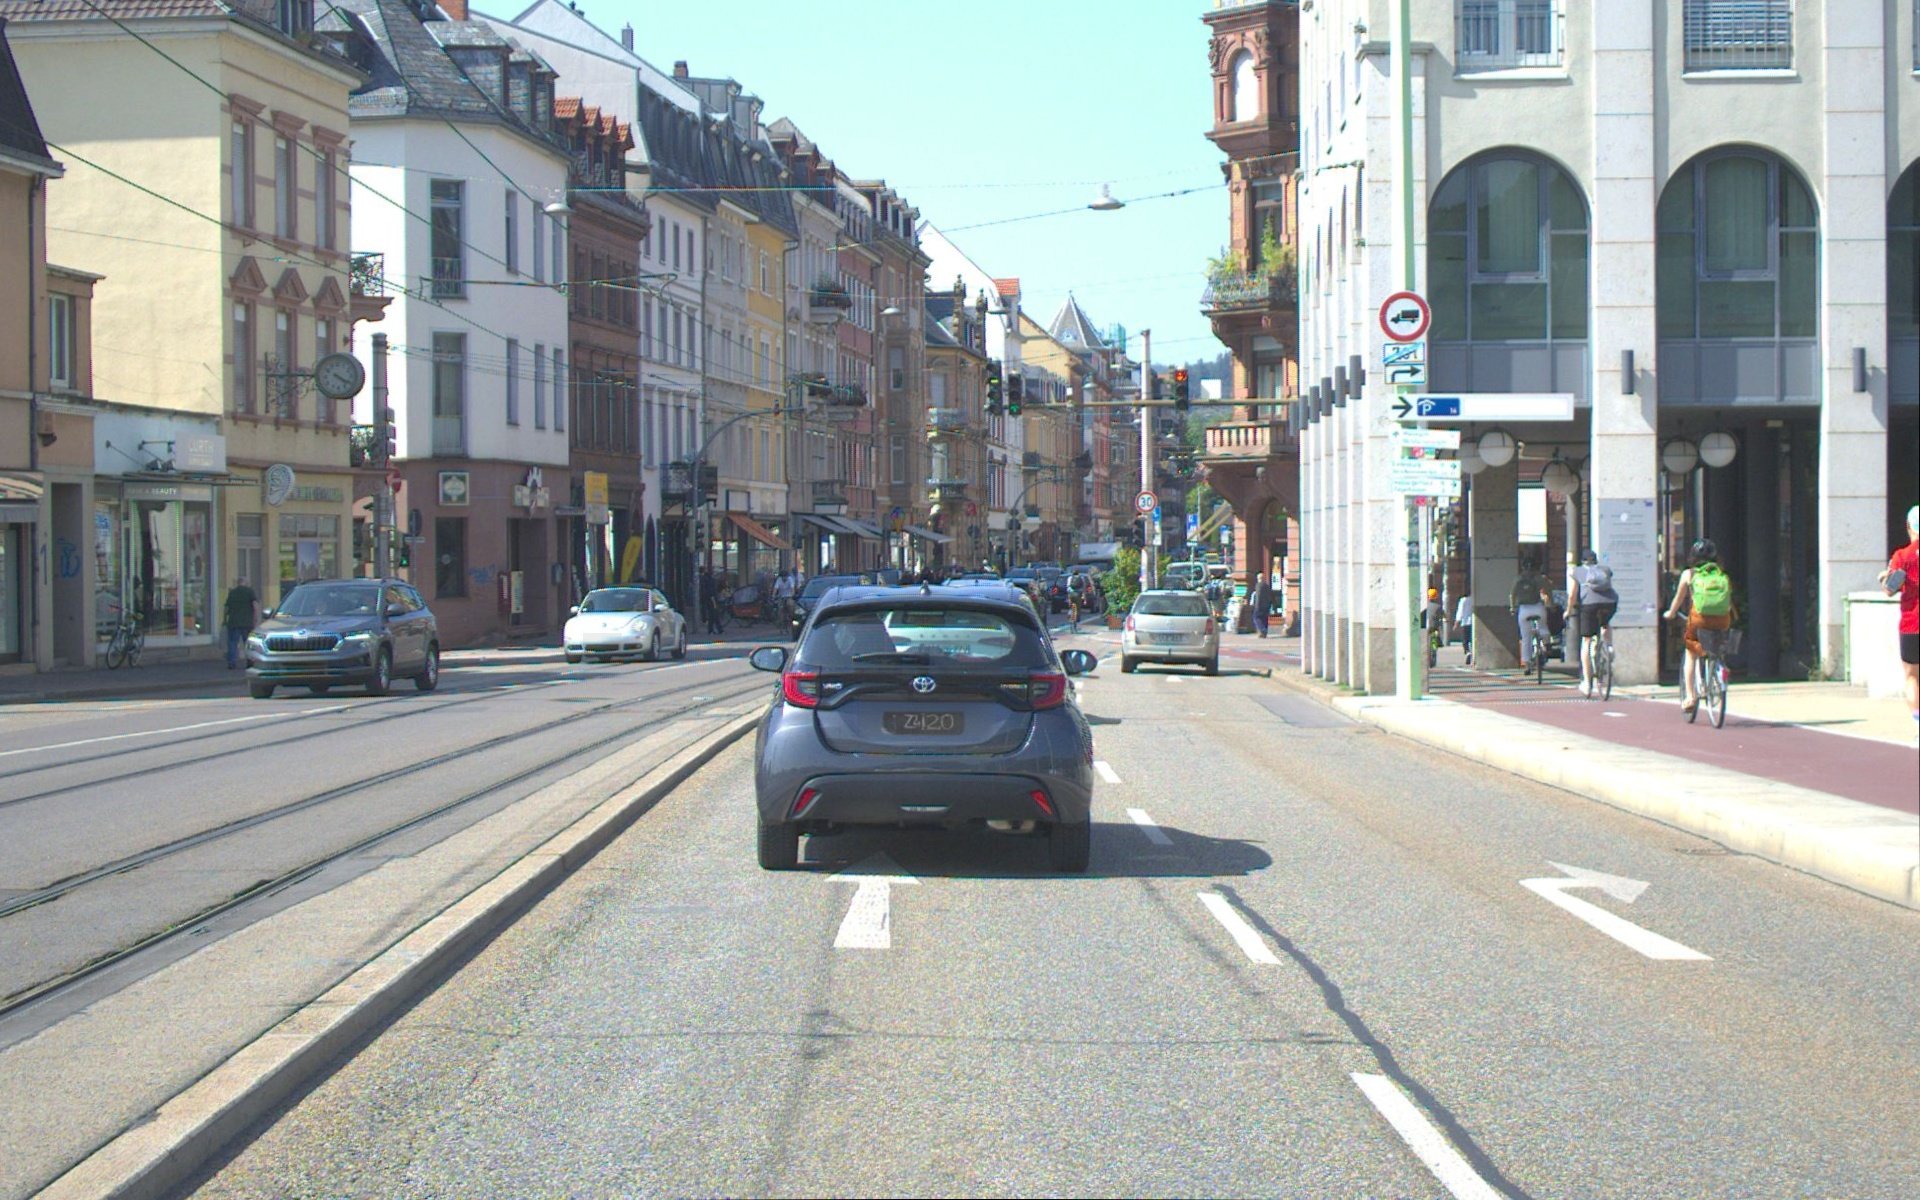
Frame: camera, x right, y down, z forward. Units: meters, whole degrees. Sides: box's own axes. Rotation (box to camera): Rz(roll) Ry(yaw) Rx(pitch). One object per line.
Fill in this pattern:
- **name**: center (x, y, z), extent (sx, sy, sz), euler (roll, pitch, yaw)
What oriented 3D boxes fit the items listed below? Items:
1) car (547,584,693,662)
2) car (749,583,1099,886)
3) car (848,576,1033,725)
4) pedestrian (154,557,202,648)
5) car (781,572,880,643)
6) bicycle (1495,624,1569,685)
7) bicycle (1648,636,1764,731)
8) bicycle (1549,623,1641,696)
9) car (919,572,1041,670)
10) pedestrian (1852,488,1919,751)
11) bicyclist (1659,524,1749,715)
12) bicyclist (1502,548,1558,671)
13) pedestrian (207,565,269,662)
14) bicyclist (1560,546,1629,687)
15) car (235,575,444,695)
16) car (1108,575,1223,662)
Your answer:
- **car**: center (-6.502, 0.426, 66.172), extent (1.994, 1.427, 3.999), euler (1, 0, 6)
- **car**: center (-0.206, 0.663, 18.988), extent (1.720, 1.468, 3.658), euler (1, 0, -1)
- **car**: center (-0.232, 0.512, 37.847), extent (1.897, 1.525, 4.000), euler (1, 0, -1)
- **pedestrian**: center (-14.272, 0.045, 62.775), extent (0.649, 1.596, 0.566), euler (4, 2, 0)
- **car**: center (-3.331, 0.188, 88.973), extent (1.994, 1.766, 3.999), euler (0, 0, 6)
- **bicycle**: center (7.762, 0.733, 46.714), extent (0.593, 0.763, 1.867), euler (-1, 0, -3)
- **bicycle**: center (6.555, 0.723, 30.282), extent (0.593, 0.763, 1.866), euler (-1, 0, 0)
- **bicycle**: center (7.135, 0.663, 38.674), extent (0.593, 0.763, 1.831), euler (-1, 0, -3)
- **car**: center (0.298, 0.313, 56.481), extent (1.897, 1.525, 4.000), euler (1, 0, -1)
- **pedestrian**: center (7.250, 0.135, 25.701), extent (0.811, 1.918, 1.127), euler (-1, 0, -1)
- **bicyclist**: center (6.536, 0.166, 30.223), extent (0.605, 1.645, 0.702), euler (-1, 0, 0)
- **bicyclist**: center (7.751, 0.130, 46.763), extent (0.586, 1.645, 0.702), euler (-1, 0, -2)
- **pedestrian**: center (-12.759, 0.241, 60.740), extent (0.762, 1.648, 0.711), euler (4, 0, 9)
- **bicyclist**: center (7.128, 0.179, 38.663), extent (0.586, 1.553, 0.702), euler (-1, 0, -2)
- **car**: center (-8.327, 0.445, 46.469), extent (1.794, 1.540, 3.920), euler (0, 0, 5)
- **car**: center (3.631, 0.306, 61.275), extent (1.705, 1.461, 4.326), euler (1, 0, -1)
